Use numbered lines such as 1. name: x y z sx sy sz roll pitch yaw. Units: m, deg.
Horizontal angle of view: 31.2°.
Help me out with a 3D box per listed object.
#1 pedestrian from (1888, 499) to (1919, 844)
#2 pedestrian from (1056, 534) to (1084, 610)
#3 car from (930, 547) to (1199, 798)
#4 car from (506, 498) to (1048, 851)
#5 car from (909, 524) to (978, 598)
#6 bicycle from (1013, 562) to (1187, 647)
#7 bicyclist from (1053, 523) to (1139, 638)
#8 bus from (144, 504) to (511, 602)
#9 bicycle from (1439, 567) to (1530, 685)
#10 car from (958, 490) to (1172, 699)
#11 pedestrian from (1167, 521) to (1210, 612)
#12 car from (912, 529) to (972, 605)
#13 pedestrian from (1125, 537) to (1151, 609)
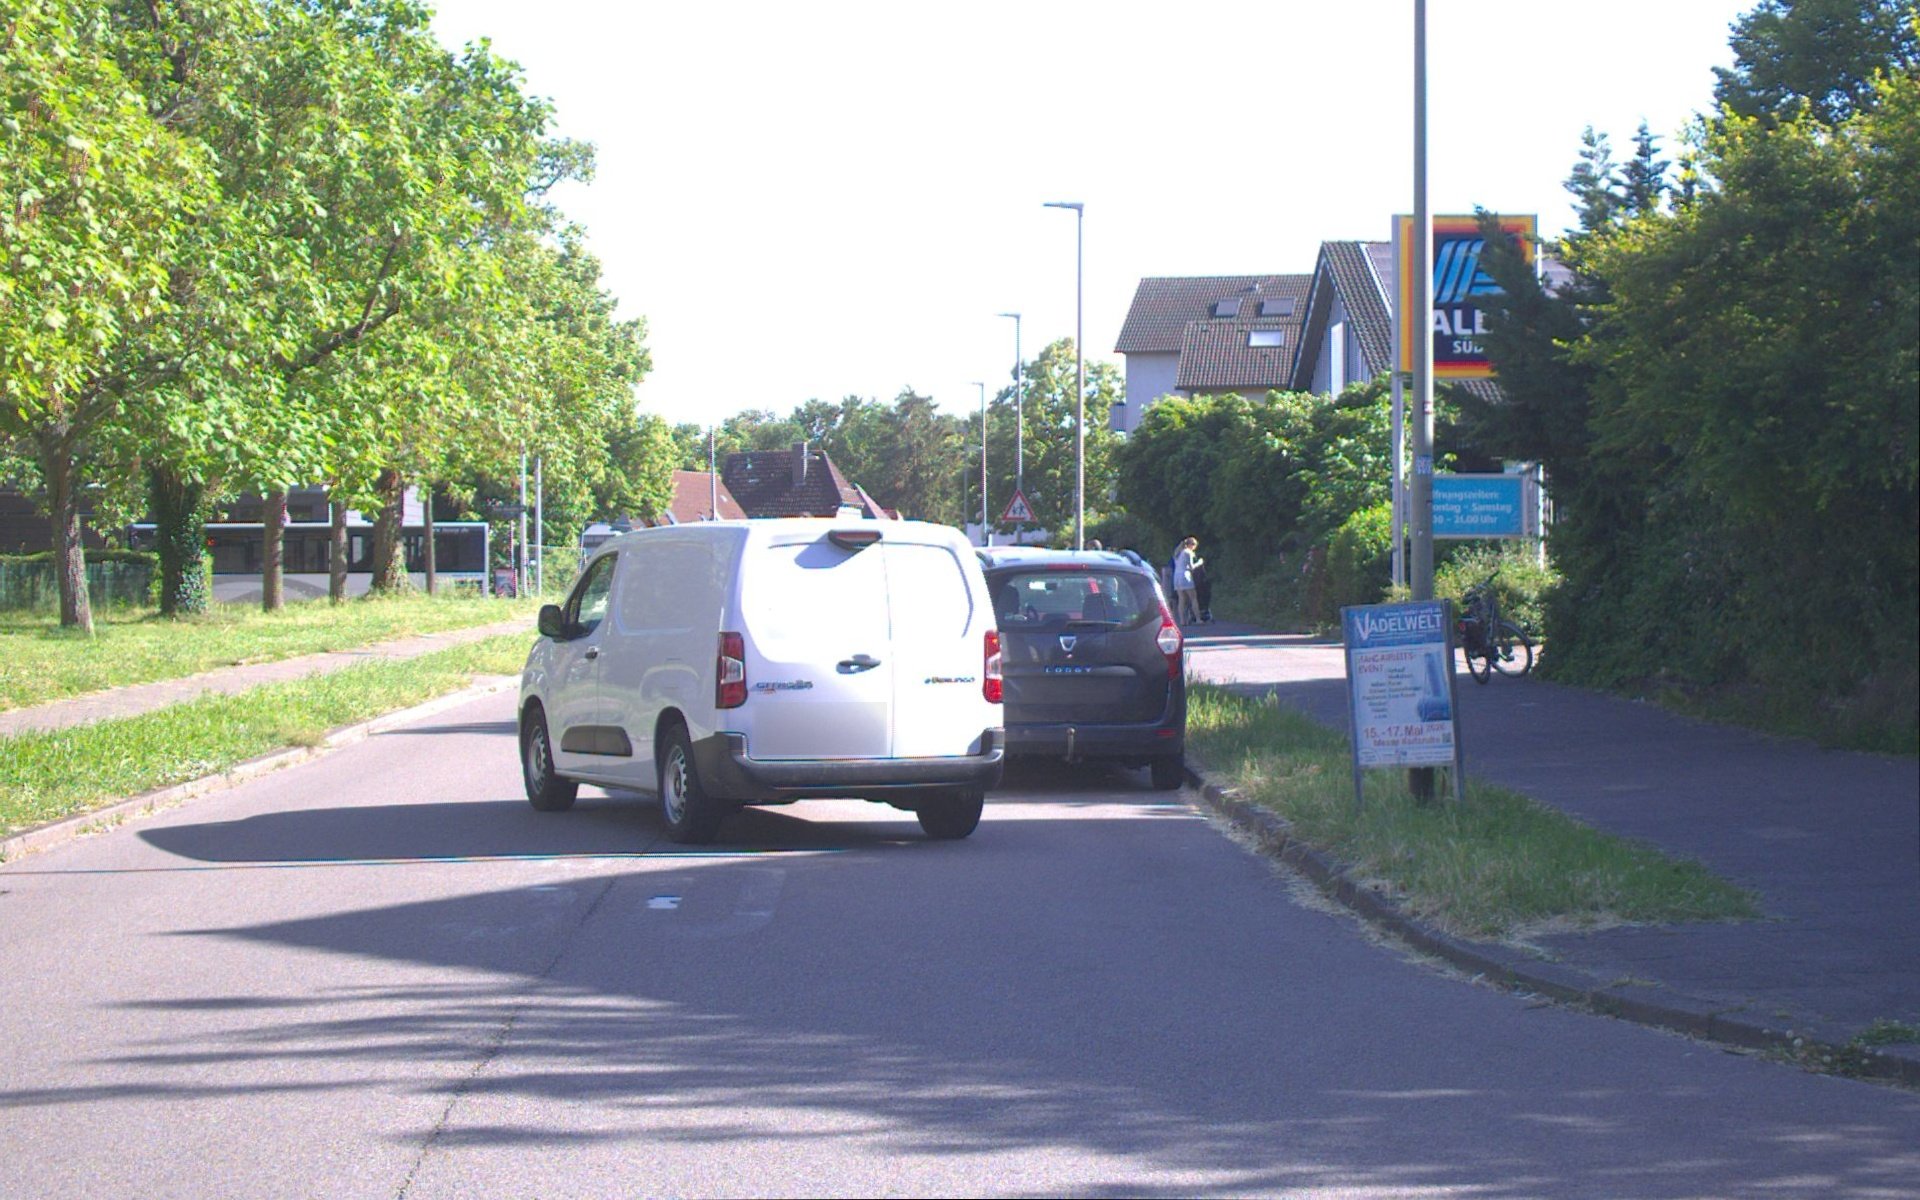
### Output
1. pedestrian: 5.162 0.342 16.917 0.803 1.711 0.984 -2 -1 -4
2. pedestrian: 2.380 -0.607 74.308 0.567 1.631 0.546 0 1 4
3. car: 0.682 0.452 25.159 1.724 1.651 4.353 0 1 -1
4. car: -1.228 0.362 20.667 1.993 1.875 4.290 -1 1 -21
5. car: -0.420 -0.996 87.720 1.724 1.831 4.000 0 1 0
6. bicycle: 1.943 0.058 47.728 2.274 1.135 0.788 -1 0 18
7. bicyclist: 1.900 -0.265 47.808 0.964 1.579 0.907 0 0 19
8. bus: -18.922 -1.418 102.822 10.553 2.815 3.048 -1 0 -15
9. bicycle: 5.688 0.275 37.224 0.721 1.216 1.894 -2 0 15
10. car: 0.910 -0.082 32.165 1.840 1.799 4.654 0 1 0
11. pedestrian: 4.486 -0.655 67.406 0.798 1.776 0.809 0 1 7
12. car: -0.654 -1.146 121.608 1.866 2.554 4.768 2 0 -2
13. pedestrian: 4.031 -0.620 77.911 0.567 1.631 0.546 0 1 4
